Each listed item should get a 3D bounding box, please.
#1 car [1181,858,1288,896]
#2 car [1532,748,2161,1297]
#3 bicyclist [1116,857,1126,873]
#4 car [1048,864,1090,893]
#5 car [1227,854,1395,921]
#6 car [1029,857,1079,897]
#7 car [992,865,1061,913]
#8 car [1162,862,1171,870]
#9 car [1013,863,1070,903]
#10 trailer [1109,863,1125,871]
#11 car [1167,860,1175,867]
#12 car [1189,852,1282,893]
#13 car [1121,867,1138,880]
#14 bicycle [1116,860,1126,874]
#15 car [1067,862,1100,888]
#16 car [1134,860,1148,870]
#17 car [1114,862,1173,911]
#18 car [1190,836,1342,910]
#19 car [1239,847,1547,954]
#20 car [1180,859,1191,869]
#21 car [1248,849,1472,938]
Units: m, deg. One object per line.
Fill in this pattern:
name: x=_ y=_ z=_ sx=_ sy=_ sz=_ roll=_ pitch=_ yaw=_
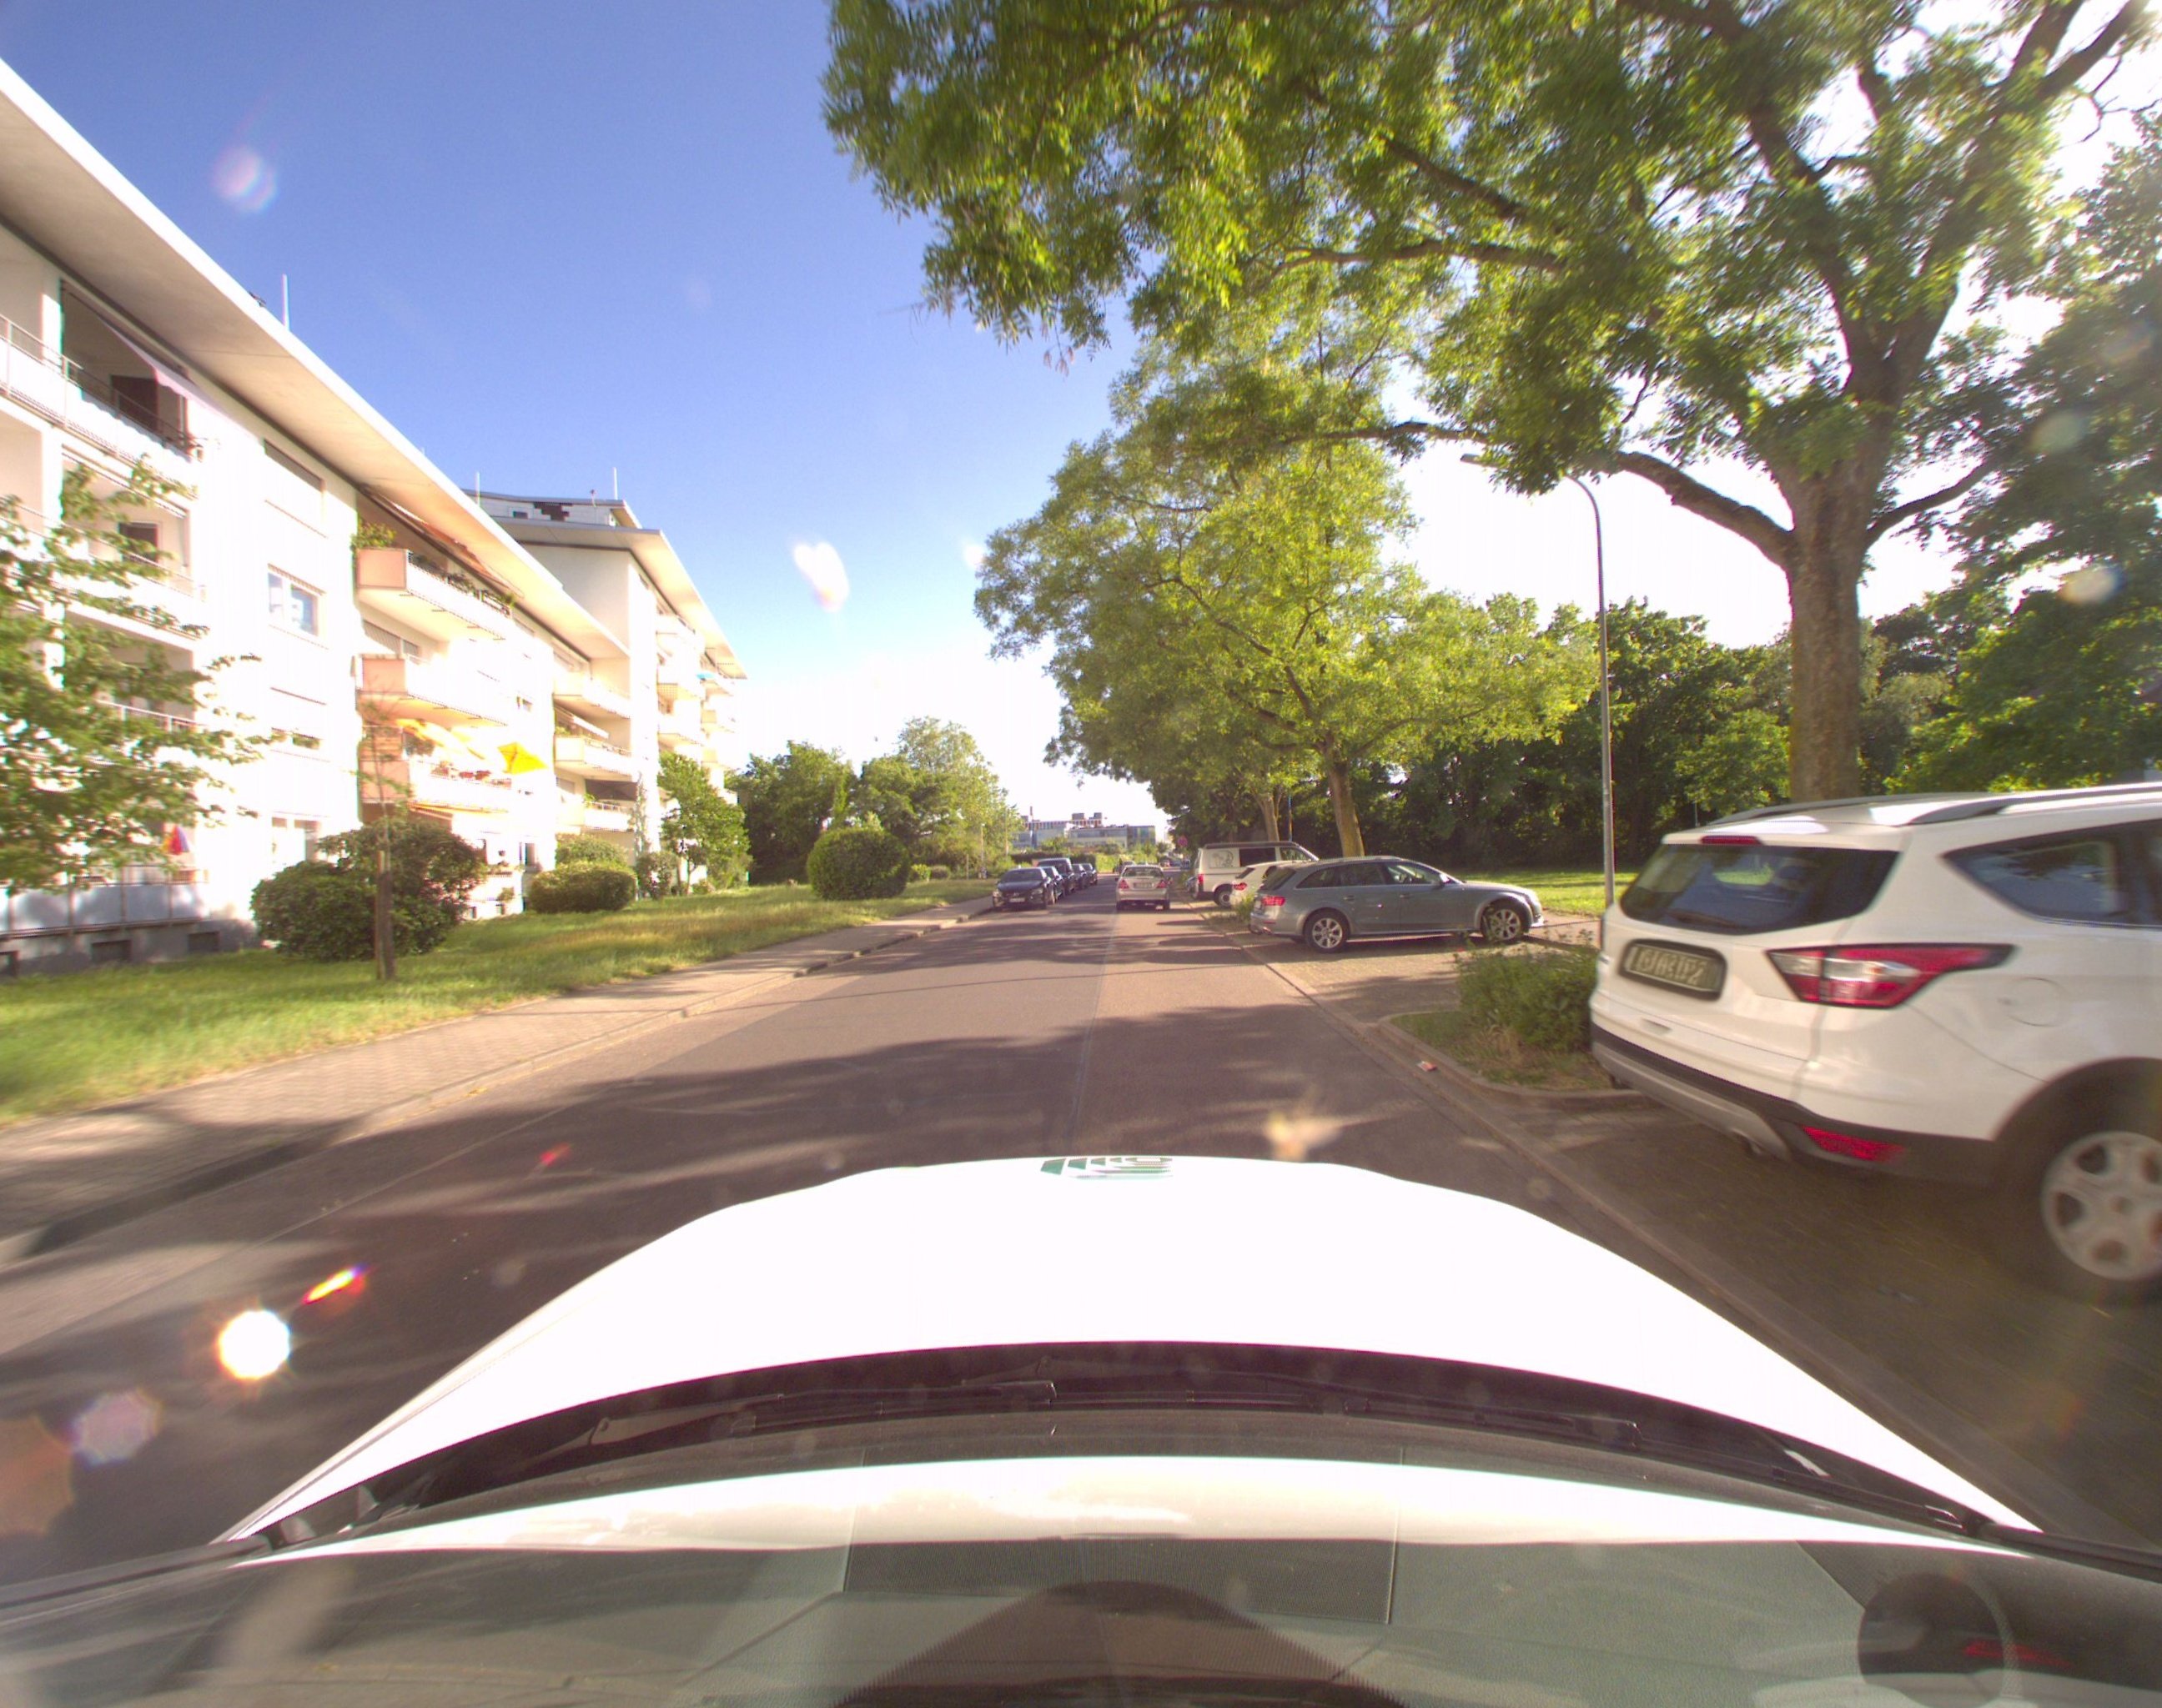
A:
car: x=6.754 y=0.998 z=36.131 sx=4.431 sy=1.414 sz=1.777 roll=-3 pitch=-1 yaw=4
car: x=4.467 y=0.508 z=3.506 sx=4.025 sy=1.764 sz=1.746 roll=-2 pitch=-1 yaw=2
bicyclist: x=4.096 y=1.117 z=83.493 sx=0.840 sy=1.658 sz=1.066 roll=-2 pitch=-1 yaw=6
car: x=-0.635 y=1.399 z=47.484 sx=1.830 sy=1.454 sz=4.026 roll=-4 pitch=0 yaw=7
car: x=5.733 y=0.828 z=20.691 sx=3.886 sy=1.435 sz=1.640 roll=-3 pitch=-1 yaw=7
car: x=-1.296 y=1.111 z=41.081 sx=1.831 sy=1.780 sz=4.895 roll=-4 pitch=-1 yaw=5
car: x=-1.850 y=1.181 z=29.330 sx=1.832 sy=1.481 sz=4.804 roll=-3 pitch=-1 yaw=3
car: x=18.417 y=2.596 z=176.102 sx=1.550 sy=1.495 sz=3.580 roll=-3 pitch=-1 yaw=10
car: x=-1.639 y=1.205 z=35.396 sx=1.832 sy=1.481 sz=4.580 roll=-5 pitch=-1 yaw=4
trailer: x=4.581 y=1.657 z=102.306 sx=1.533 sy=0.953 sz=2.656 roll=-1 pitch=-1 yaw=13
car: x=21.453 y=2.288 z=194.007 sx=1.550 sy=1.495 sz=3.580 roll=0 pitch=0 yaw=10
car: x=7.282 y=0.849 z=38.712 sx=4.127 sy=1.695 sz=1.778 roll=-3 pitch=-1 yaw=6
car: x=6.686 y=2.677 z=112.250 sx=1.632 sy=1.600 sz=4.326 roll=-1 pitch=-1 yaw=12
bicycle: x=4.128 y=1.357 z=83.782 sx=0.846 sy=1.370 sz=3.226 roll=-2 pitch=-1 yaw=6
car: x=0.201 y=1.345 z=53.795 sx=1.719 sy=1.463 sz=4.689 roll=-3 pitch=0 yaw=5
car: x=9.621 y=1.781 z=129.977 sx=1.633 sy=1.556 sz=4.430 roll=-3 pitch=-1 yaw=10
car: x=1.986 y=1.015 z=26.767 sx=1.731 sy=1.453 sz=4.001 roll=-1 pitch=-1 yaw=1
car: x=5.820 y=0.595 z=26.127 sx=4.429 sy=2.016 sz=2.024 roll=-3 pitch=-1 yaw=5
car: x=5.055 y=0.744 z=13.668 sx=4.462 sy=1.471 sz=1.746 roll=-3 pitch=-1 yaw=2
car: x=16.553 y=1.589 z=128.856 sx=1.546 sy=1.538 sz=3.566 roll=0 pitch=0 yaw=10
car: x=5.447 y=0.767 z=16.304 sx=3.889 sy=1.435 sz=1.638 roll=-4 pitch=-1 yaw=5
